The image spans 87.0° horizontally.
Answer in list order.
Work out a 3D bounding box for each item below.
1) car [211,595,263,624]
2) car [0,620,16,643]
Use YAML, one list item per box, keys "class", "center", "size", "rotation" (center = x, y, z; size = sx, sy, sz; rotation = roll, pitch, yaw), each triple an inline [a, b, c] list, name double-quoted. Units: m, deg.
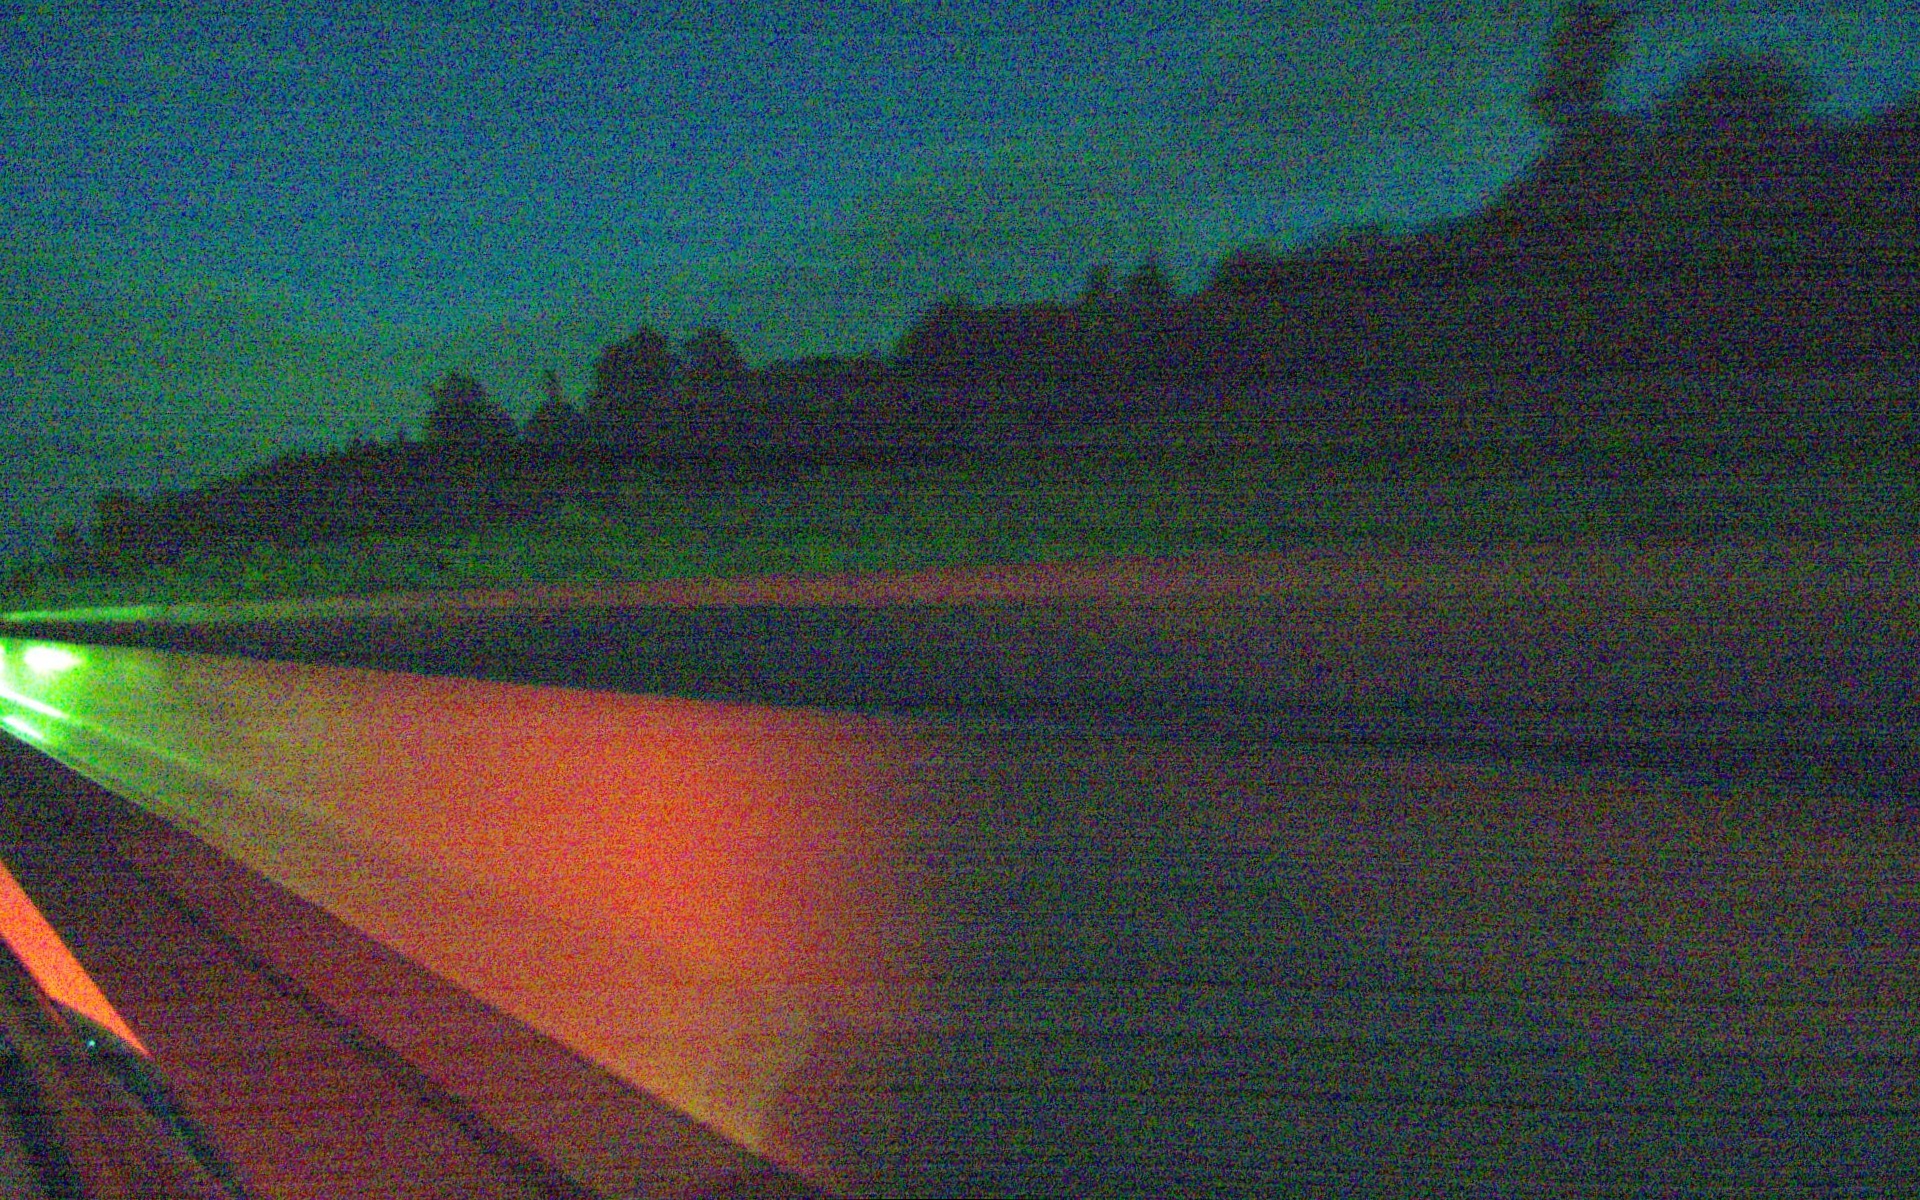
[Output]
- class: "car"
  center: [-49.997, 0.647, 70.007]
  size: [3.996, 1.940, 1.974]
  rotation: [-1, -1, 39]
- class: "car"
  center: [-78.281, 2.611, 82.011]
  size: [4.744, 1.789, 1.973]
  rotation: [-3, 2, 40]
